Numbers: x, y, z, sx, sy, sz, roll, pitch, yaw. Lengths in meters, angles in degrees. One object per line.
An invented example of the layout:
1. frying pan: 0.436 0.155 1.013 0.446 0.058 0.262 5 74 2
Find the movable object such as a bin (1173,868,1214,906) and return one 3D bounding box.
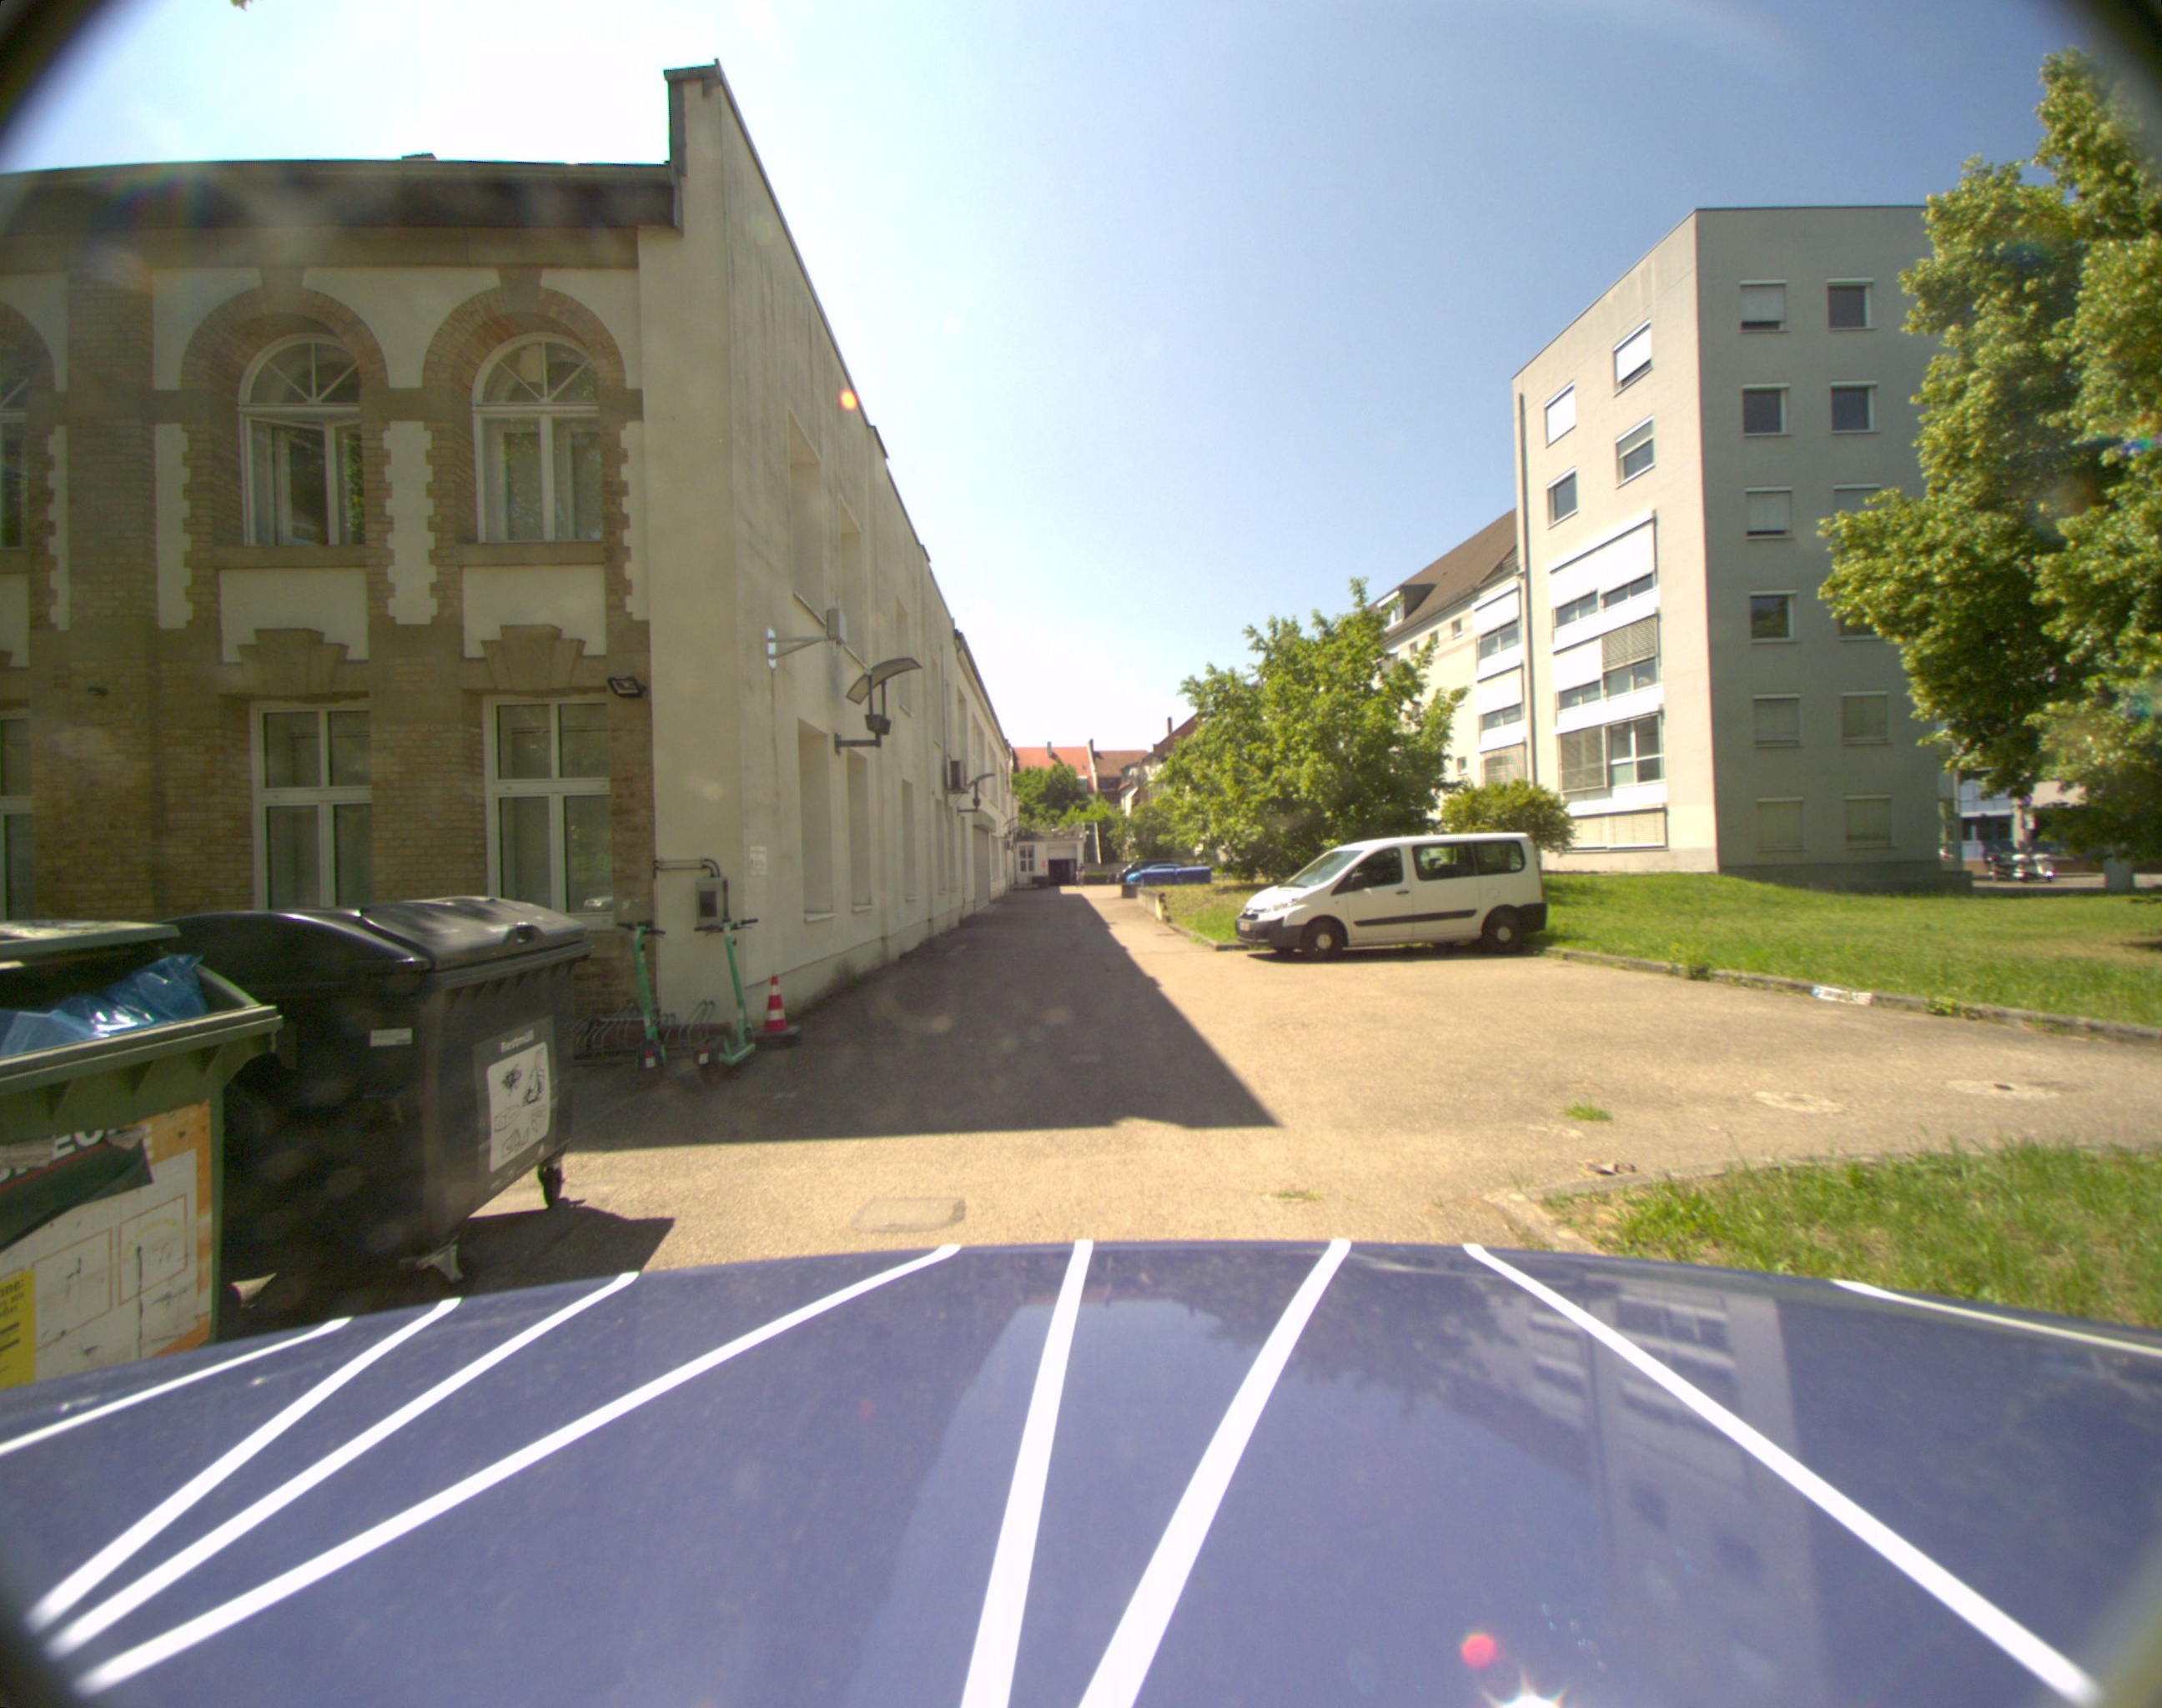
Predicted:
1. movable object such as a bin: 4.102 1.198 27.859 1.257 1.320 1.104 -2 0 -2

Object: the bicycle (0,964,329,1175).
1. bicycle: -6.758 1.478 5.644 0.504 1.061 1.835 -2 -1 -1

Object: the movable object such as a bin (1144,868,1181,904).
1. movable object such as a bin: 3.155 1.234 29.594 1.257 1.320 1.104 -2 0 -2

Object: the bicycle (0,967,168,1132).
1. bicycle: -8.080 1.492 5.588 0.504 1.061 1.835 -2 -1 -1

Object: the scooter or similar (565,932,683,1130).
1. scooter or similar: -3.358 1.236 5.672 0.465 1.167 1.254 -2 0 -19

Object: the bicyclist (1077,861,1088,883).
1. bicyclist: 0.128 1.327 55.707 0.724 1.600 0.978 -2 0 2

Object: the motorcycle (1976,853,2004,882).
1. motorcycle: 39.374 0.561 32.939 2.308 1.161 0.698 -2 0 -41

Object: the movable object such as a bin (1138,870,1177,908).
1. movable object such as a bin: 2.782 1.270 27.800 1.257 1.320 1.104 -2 0 -2

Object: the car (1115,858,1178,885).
1. car: 4.955 1.303 58.159 4.450 1.821 1.999 -2 0 -5

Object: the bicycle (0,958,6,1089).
1. bicycle: -9.375 1.419 5.517 0.523 1.096 1.835 -2 -1 -1

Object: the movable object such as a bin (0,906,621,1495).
1. movable object such as a bin: -2.740 1.027 2.919 1.159 1.497 1.461 -2 1 -11

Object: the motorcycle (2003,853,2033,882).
1. motorcycle: 39.970 0.566 32.435 2.315 1.161 0.698 -2 0 -41

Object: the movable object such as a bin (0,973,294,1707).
1. movable object such as a bin: -2.534 1.055 1.191 1.182 1.461 1.310 -2 1 -8

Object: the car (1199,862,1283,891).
1. car: 8.491 1.199 40.483 3.999 1.428 1.710 -1 0 -6

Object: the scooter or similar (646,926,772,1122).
1. scooter or similar: -2.758 1.194 5.751 0.465 1.167 1.356 -2 0 -10

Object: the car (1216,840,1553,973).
1. car: 4.903 0.809 12.675 4.803 1.899 1.999 -1 -1 -7

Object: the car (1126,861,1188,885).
1. car: 5.544 1.366 55.559 4.169 1.544 1.858 -2 0 -7

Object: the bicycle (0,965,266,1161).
1. bicycle: -7.326 1.489 5.669 0.504 1.061 1.835 -2 0 -1

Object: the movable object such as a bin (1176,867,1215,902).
1. movable object such as a bin: 4.464 1.180 29.684 1.257 1.320 1.104 -2 0 -2

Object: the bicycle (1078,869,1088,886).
1. bicycle: 0.143 1.724 55.702 0.645 1.167 1.905 -2 -1 2

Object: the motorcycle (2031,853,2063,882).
1. motorcycle: 40.510 0.552 31.885 2.337 1.161 0.698 -2 0 -41
